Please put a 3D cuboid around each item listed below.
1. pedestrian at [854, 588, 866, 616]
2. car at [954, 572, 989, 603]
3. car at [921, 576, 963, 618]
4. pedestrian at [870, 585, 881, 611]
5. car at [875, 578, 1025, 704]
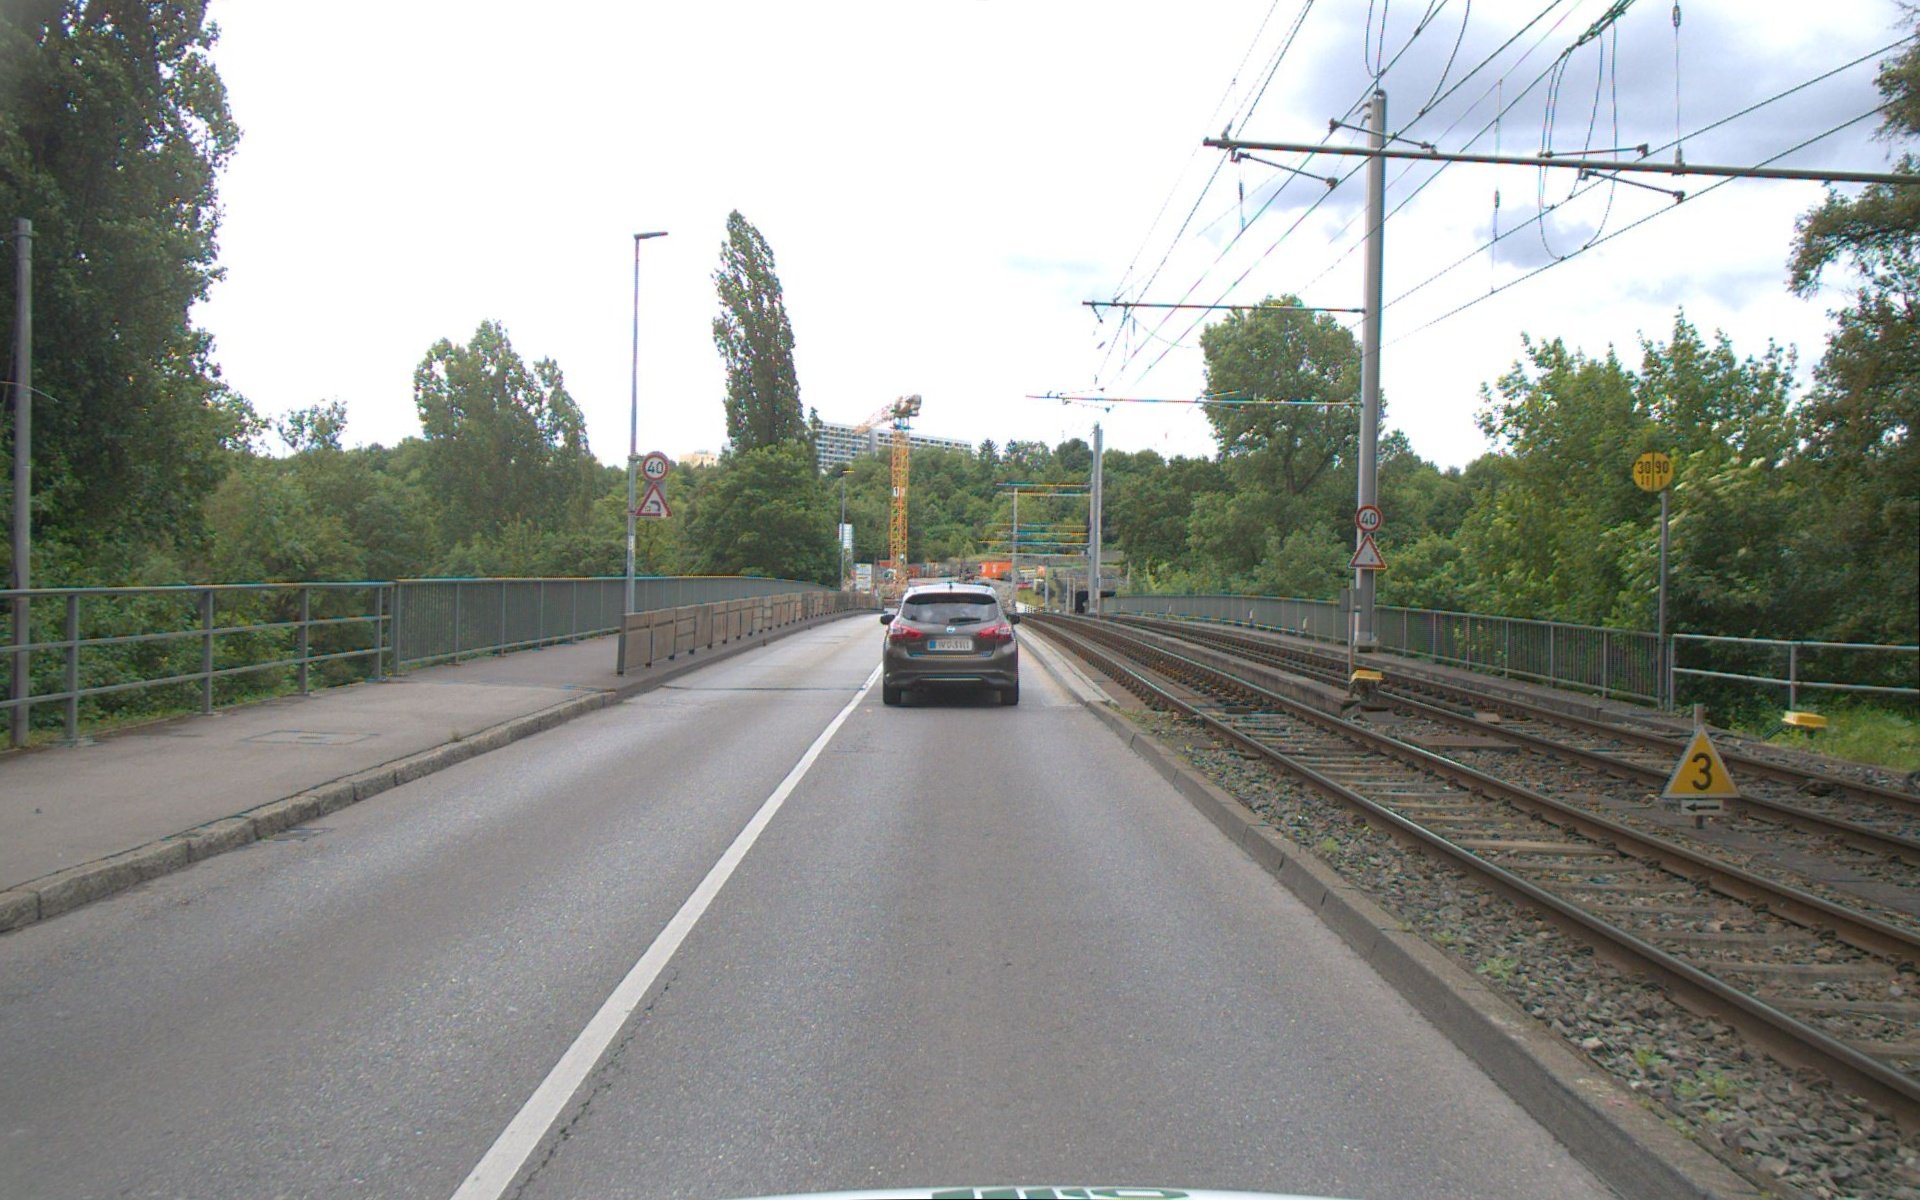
[{"bbox_3d":[-6.760,0.146,111.612,0.706,1.872,0.723,1,0,-1],"label":"pedestrian"},{"bbox_3d":[0.628,-0.722,91.127,1.646,1.634,4.307,2,1,-3],"label":"car"},{"bbox_3d":[-0.729,-0.141,69.799,1.645,1.634,4.309,2,1,0],"label":"car"},{"bbox_3d":[-5.676,-0.154,110.921,0.706,1.731,0.723,1,0,-1],"label":"pedestrian"},{"bbox_3d":[-0.217,0.525,22.295,1.793,1.536,3.997,0,-1,-4],"label":"car"}]
